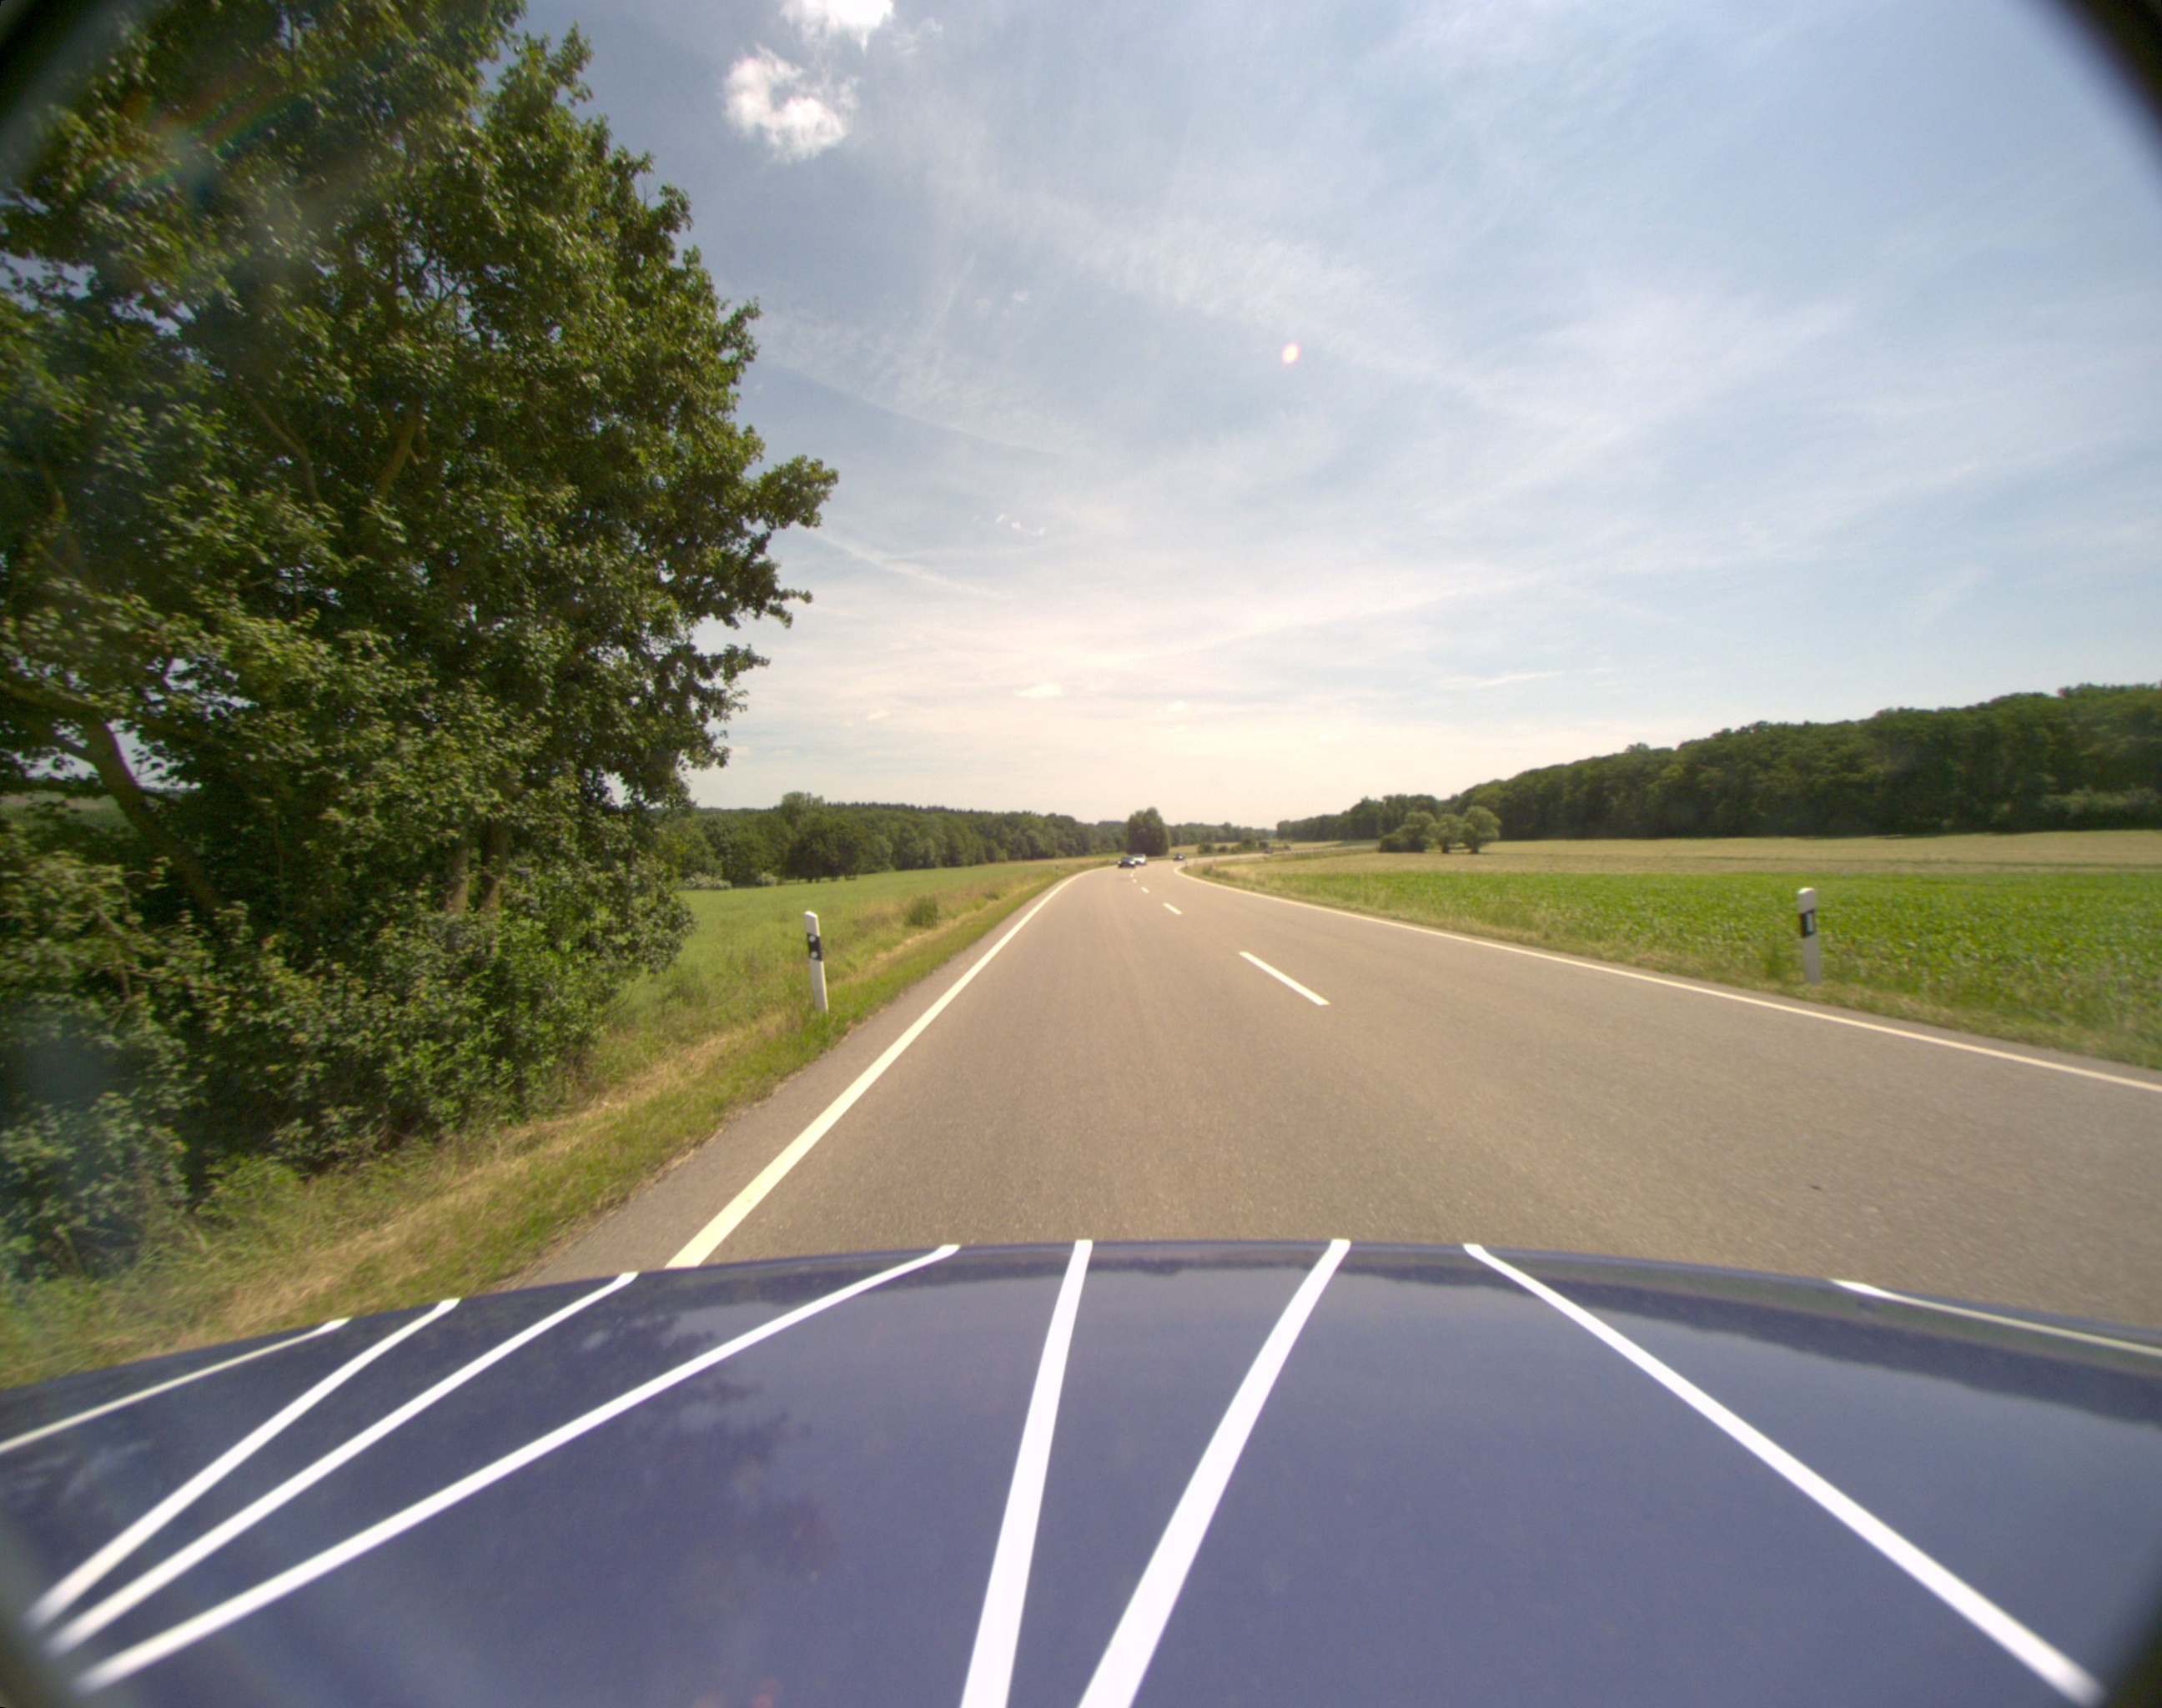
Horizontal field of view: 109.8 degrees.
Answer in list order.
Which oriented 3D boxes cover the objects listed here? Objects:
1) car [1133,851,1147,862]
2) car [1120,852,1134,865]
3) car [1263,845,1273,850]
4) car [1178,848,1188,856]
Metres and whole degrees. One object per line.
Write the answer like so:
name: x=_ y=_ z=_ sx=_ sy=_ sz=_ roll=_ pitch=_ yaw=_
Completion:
car: x=8.136 y=0.334 z=104.084 sx=1.620 sy=1.428 sz=3.445 roll=0 pitch=0 yaw=9
car: x=5.214 y=0.492 z=85.939 sx=1.621 sy=1.428 sz=3.443 roll=0 pitch=1 yaw=4
car: x=54.696 y=-2.006 z=221.863 sx=1.618 sy=1.429 sz=3.449 roll=1 pitch=3 yaw=36
car: x=19.598 y=-0.350 z=145.655 sx=1.620 sy=1.429 sz=3.445 roll=0 pitch=2 yaw=13
